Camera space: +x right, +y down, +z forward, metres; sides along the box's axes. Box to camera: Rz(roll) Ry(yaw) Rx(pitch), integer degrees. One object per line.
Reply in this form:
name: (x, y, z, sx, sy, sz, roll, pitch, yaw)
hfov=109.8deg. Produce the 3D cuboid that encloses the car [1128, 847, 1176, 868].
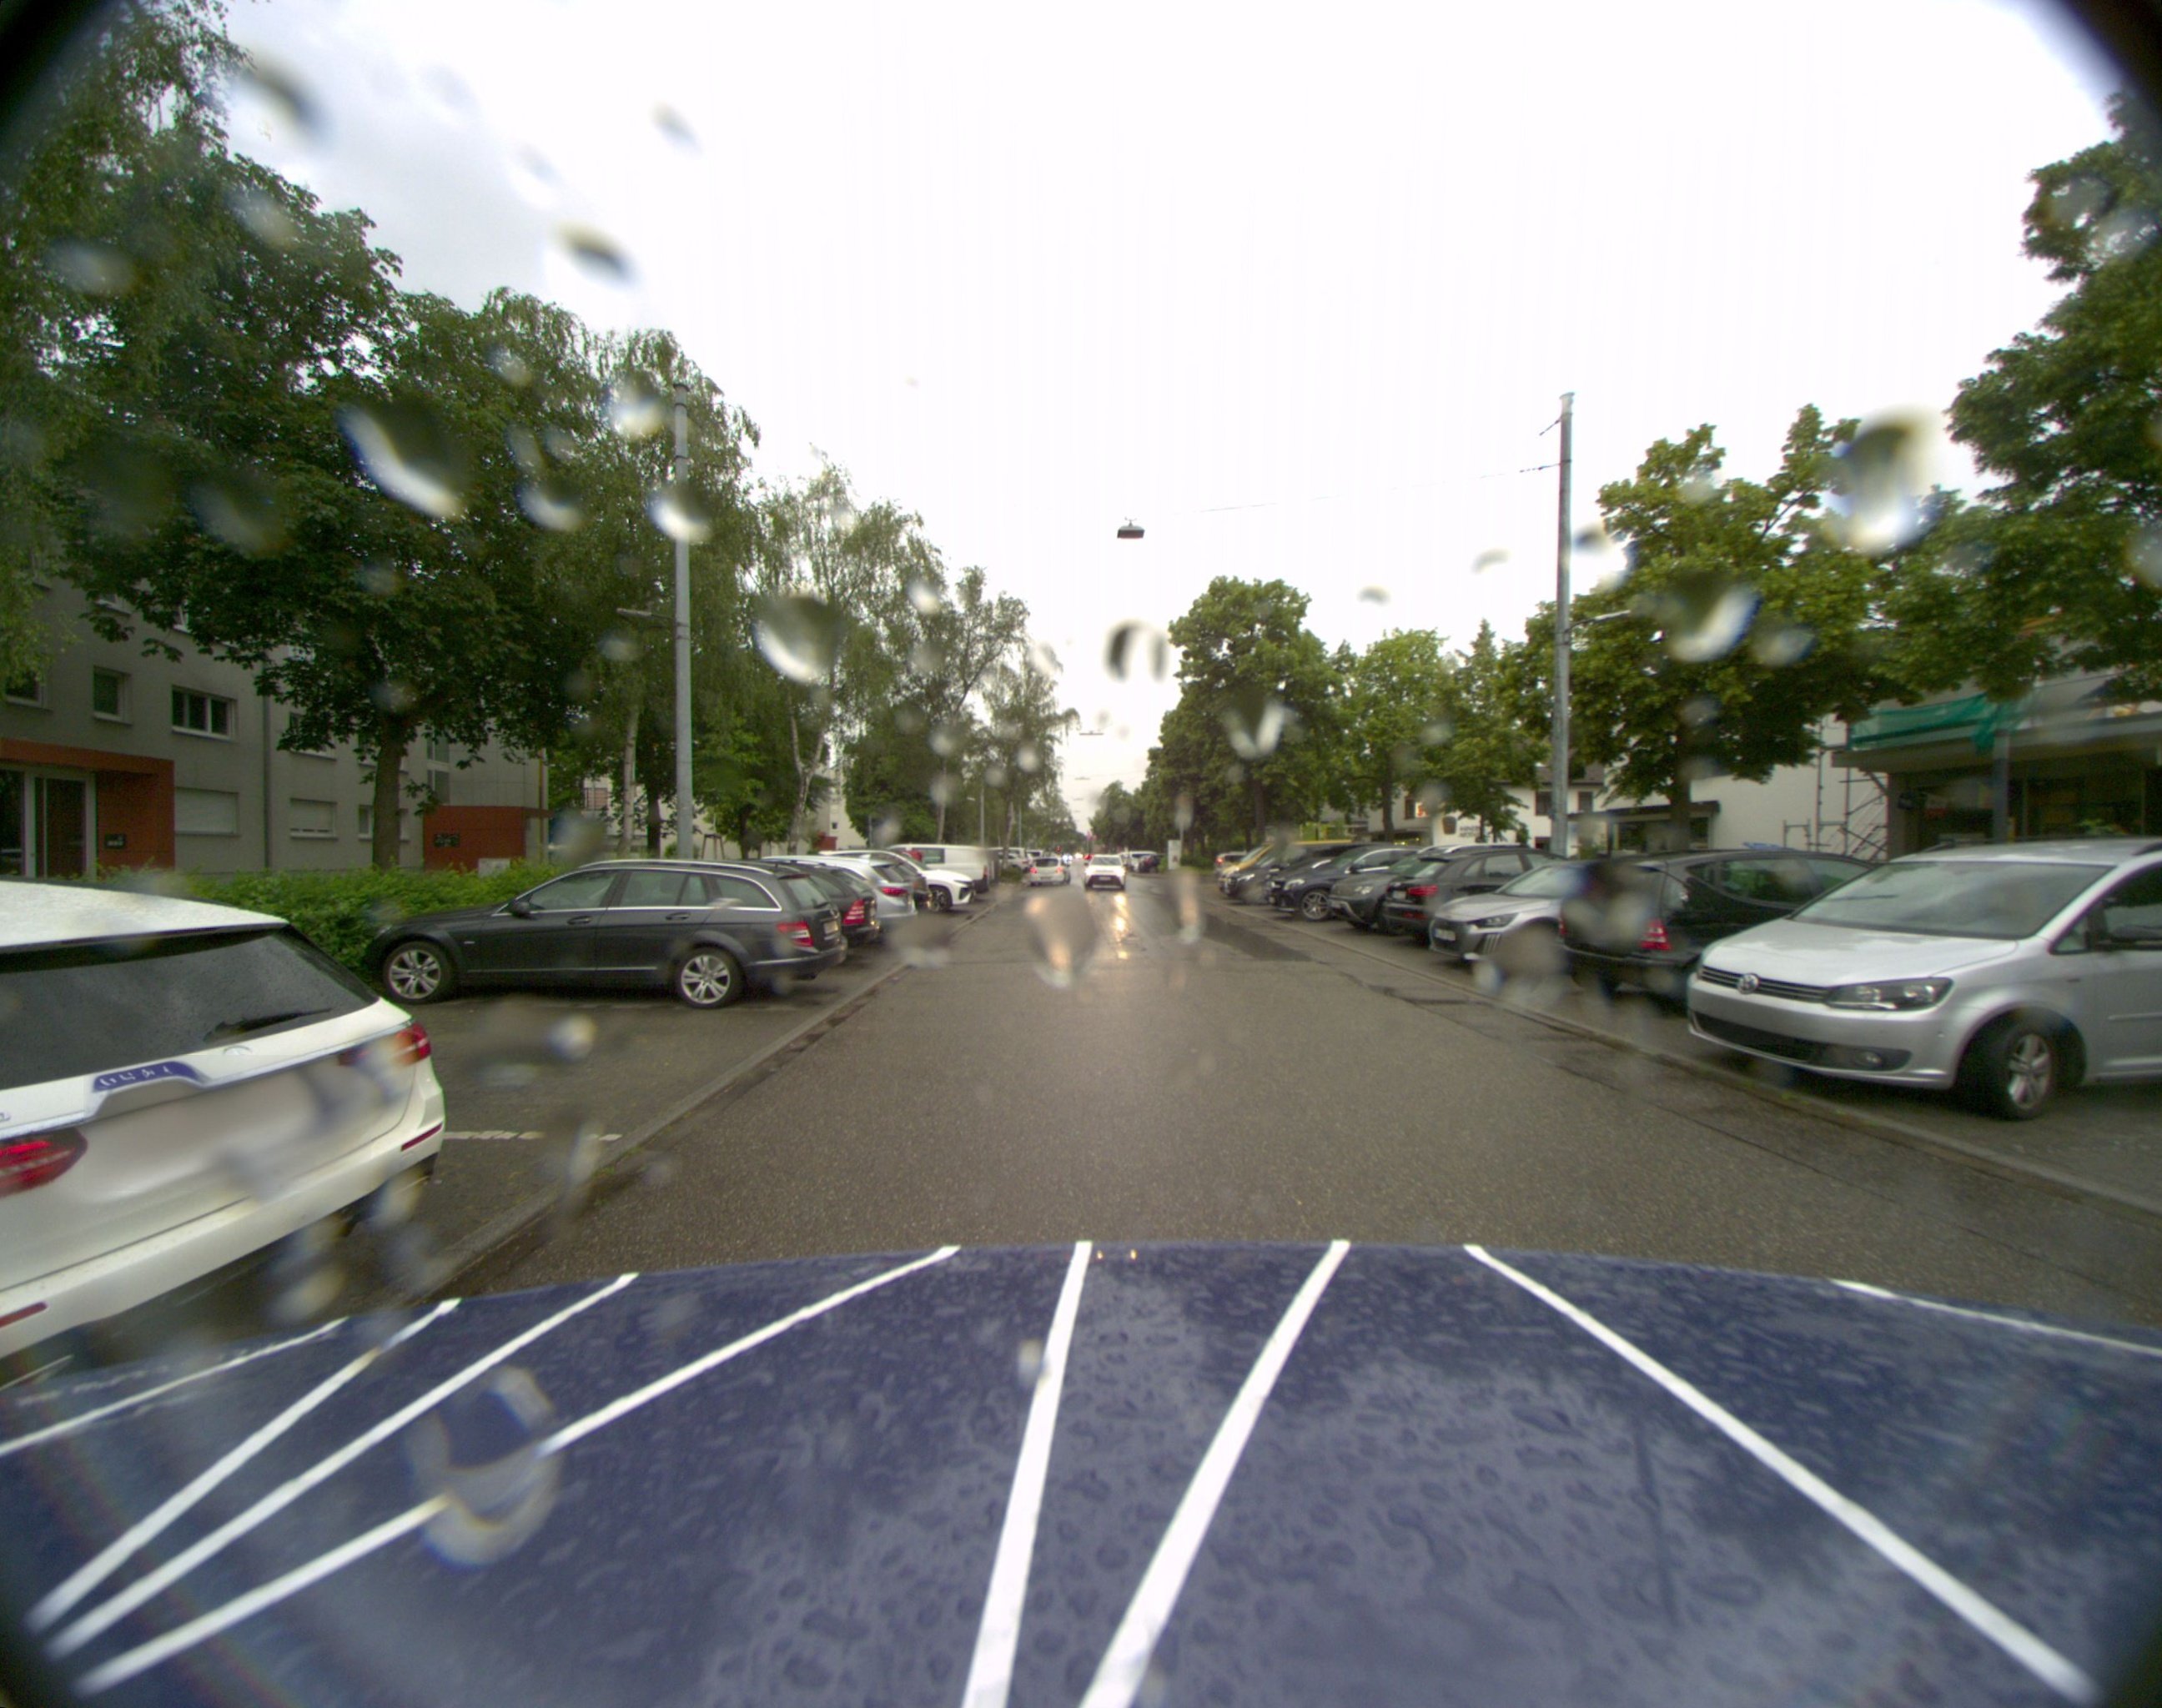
car: (6.390, 0.284, 68.849, 3.998, 1.675, 1.999, -2, 1, -3)

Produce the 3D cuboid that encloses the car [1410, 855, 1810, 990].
car: (6.988, 0.843, 10.315, 4.283, 1.523, 1.715, -2, 1, -2)

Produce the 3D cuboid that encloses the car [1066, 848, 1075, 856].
car: (-2.461, -0.405, 178.612, 1.998, 1.804, 3.999, -2, 1, 1)

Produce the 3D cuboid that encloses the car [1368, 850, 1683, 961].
car: (7.259, 0.792, 12.673, 4.283, 1.586, 1.715, -2, 1, -2)

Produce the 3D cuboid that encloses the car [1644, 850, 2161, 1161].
car: (6.612, 0.847, 5.209, 4.283, 1.625, 1.715, -2, 1, -2)

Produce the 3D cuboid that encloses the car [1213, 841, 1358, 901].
car: (7.175, 0.573, 26.933, 4.657, 1.947, 1.715, -2, 1, -2)

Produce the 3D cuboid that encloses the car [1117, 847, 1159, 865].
car: (5.873, 0.232, 78.348, 3.998, 1.675, 1.999, -2, 1, -3)

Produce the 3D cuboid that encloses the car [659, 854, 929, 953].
car: (-4.860, 0.818, 13.303, 4.049, 1.488, 1.680, 2, 1, -3)

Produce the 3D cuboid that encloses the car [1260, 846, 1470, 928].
car: (6.604, 0.720, 17.944, 4.283, 1.717, 1.715, -2, 1, -2)

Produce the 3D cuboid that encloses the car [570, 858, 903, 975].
car: (-4.811, 0.854, 11.058, 4.049, 1.431, 1.680, 2, 1, -3)

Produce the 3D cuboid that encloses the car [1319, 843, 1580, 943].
car: (7.082, 0.707, 14.864, 4.283, 1.717, 1.715, -2, 1, -2)

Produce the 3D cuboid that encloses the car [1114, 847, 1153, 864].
car: (5.779, 0.175, 83.752, 3.998, 1.675, 1.999, -2, 1, -3)

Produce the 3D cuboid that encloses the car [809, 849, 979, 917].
car: (-5.054, 0.758, 20.902, 4.179, 1.609, 1.680, 2, 1, 1)

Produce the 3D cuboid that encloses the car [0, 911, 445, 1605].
car: (-4.760, 0.918, 2.063, 4.623, 1.431, 1.680, 2, 1, 0)

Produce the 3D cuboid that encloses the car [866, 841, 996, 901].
car: (-5.087, 0.575, 26.187, 4.182, 1.856, 1.679, 2, 1, -6)

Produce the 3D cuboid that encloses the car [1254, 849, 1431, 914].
car: (7.161, 0.723, 21.074, 4.283, 1.617, 1.715, -2, 1, -2)

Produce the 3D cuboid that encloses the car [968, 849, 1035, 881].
car: (-5.119, 0.690, 49.267, 3.995, 1.902, 1.902, -2, 1, 4)

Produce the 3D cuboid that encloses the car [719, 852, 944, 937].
car: (-5.003, 0.793, 15.633, 4.049, 1.488, 1.680, 2, 1, -3)

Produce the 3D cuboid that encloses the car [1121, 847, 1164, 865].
car: (6.138, 0.202, 75.903, 3.998, 1.675, 1.999, -2, 1, -3)

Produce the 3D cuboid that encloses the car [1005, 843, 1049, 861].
car: (-5.287, -0.218, 75.028, 3.995, 1.670, 1.902, -2, 1, 4)

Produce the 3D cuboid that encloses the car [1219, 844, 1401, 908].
car: (7.108, 0.647, 23.858, 5.177, 1.789, 1.715, -2, 1, -2)

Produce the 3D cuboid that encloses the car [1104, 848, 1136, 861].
car: (5.201, 0.060, 101.614, 3.998, 1.675, 1.999, -2, 1, -3)

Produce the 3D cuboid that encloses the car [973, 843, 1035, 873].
car: (-5.462, 0.266, 54.104, 3.995, 1.902, 1.902, -2, 1, 4)

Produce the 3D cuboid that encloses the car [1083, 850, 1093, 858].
car: (1.589, -0.099, 165.913, 1.999, 1.617, 3.999, -2, 1, -1)

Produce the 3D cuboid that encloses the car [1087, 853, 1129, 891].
car: (1.189, 0.732, 33.701, 1.733, 1.519, 4.139, 0, 1, 2)

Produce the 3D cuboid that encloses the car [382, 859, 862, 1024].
car: (-4.611, 0.853, 8.116, 4.049, 1.431, 1.680, 2, 1, -3)

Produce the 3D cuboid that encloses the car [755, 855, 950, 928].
car: (-5.261, 0.845, 17.885, 4.049, 1.488, 1.680, 2, 1, -3)

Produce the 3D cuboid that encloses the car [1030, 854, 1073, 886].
car: (-1.505, 0.773, 38.838, 1.999, 1.446, 4.256, -2, 1, -2)

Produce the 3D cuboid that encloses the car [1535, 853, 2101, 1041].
car: (7.252, 0.840, 7.757, 4.283, 1.556, 1.635, -2, 1, -2)

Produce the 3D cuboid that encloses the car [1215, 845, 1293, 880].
car: (9.371, 0.450, 41.430, 3.994, 1.677, 1.842, -2, 1, 10)
